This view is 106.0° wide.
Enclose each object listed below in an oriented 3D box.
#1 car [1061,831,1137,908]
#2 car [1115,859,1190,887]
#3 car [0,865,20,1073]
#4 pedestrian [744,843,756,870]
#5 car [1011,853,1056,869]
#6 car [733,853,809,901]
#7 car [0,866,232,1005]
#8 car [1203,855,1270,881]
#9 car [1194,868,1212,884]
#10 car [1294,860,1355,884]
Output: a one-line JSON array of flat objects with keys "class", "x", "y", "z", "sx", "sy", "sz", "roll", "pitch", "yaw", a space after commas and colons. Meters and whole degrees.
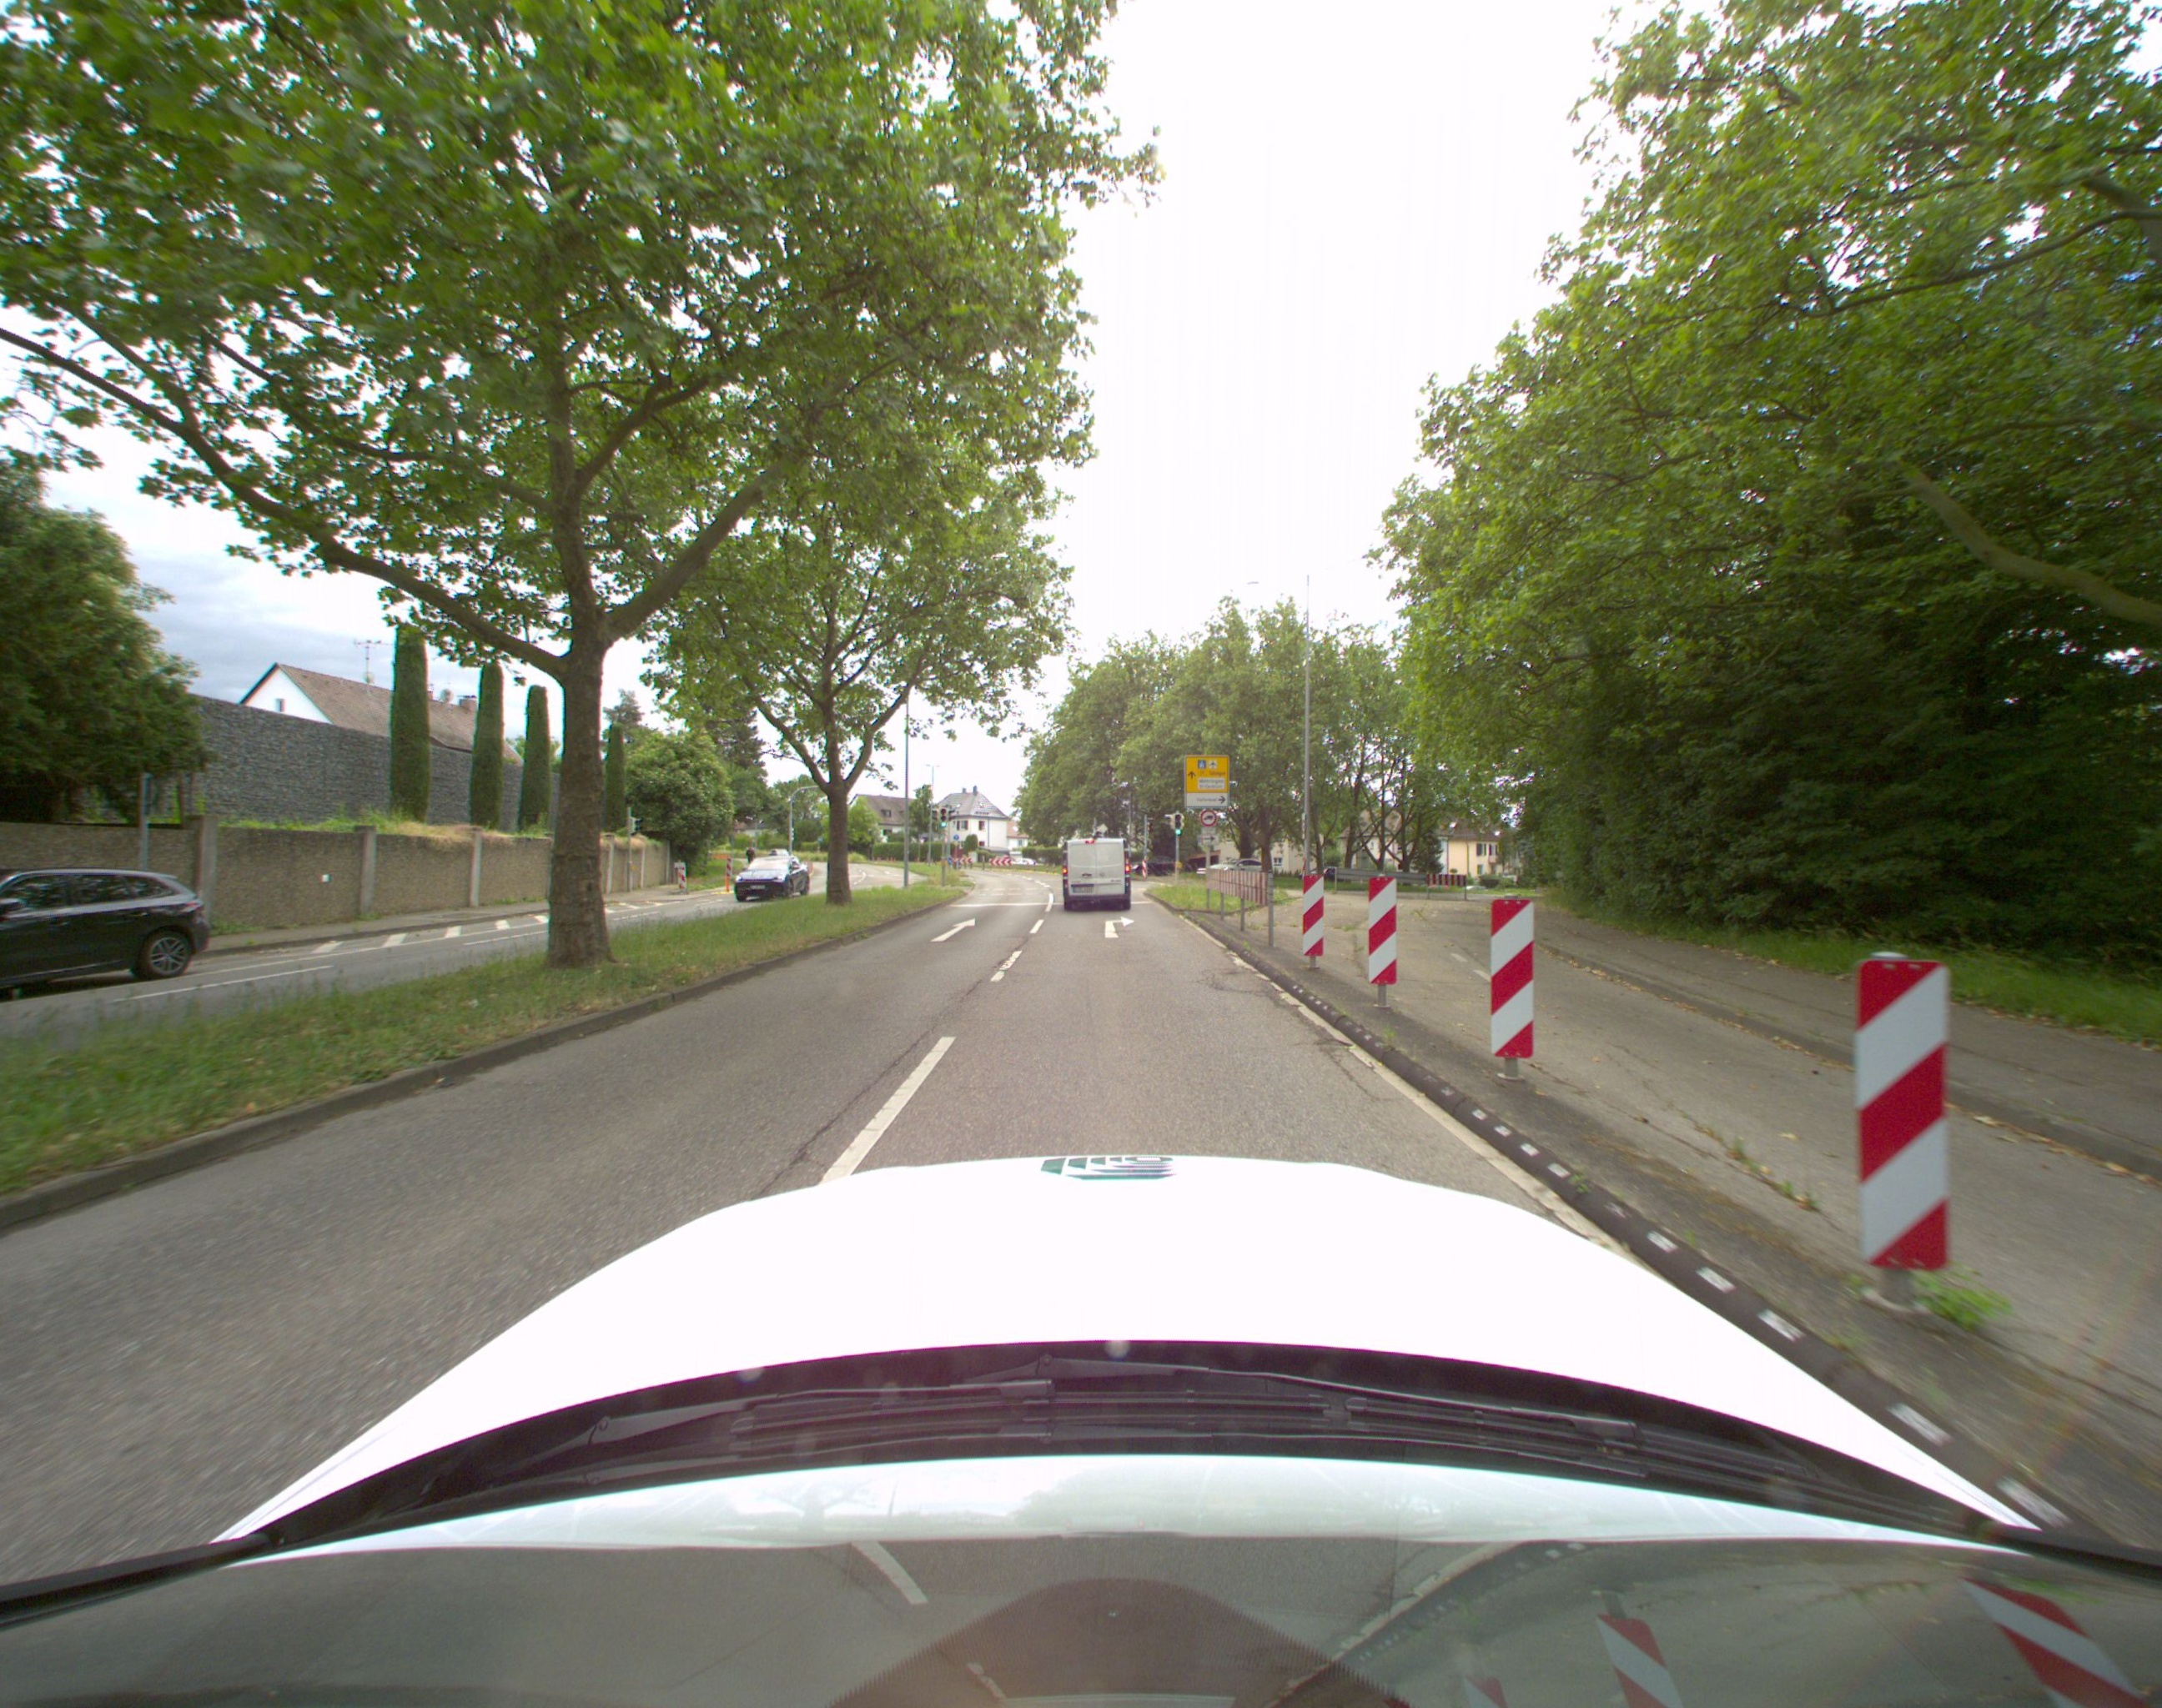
[{"class": "car", "x": 0.443, "y": 0.429, "z": 24.008, "sx": 2.000, "sy": 2.038, "sz": 5.008, "roll": 0, "pitch": 0, "yaw": -1}, {"class": "car", "x": 4.797, "y": 1.226, "z": 54.354, "sx": 4.763, "sy": 1.769, "sz": 1.979, "roll": 1, "pitch": 0, "yaw": -34}, {"class": "car", "x": -9.101, "y": 0.858, "z": 4.246, "sx": 1.994, "sy": 1.587, "sz": 3.990, "roll": -1, "pitch": -1, "yaw": -5}, {"class": "pedestrian", "x": -25.296, "y": 0.164, "z": 62.220, "sx": 0.740, "sy": 2.013, "sz": 0.630, "roll": 2, "pitch": 1, "yaw": -15}, {"class": "car", "x": -5.322, "y": 0.761, "z": 90.870, "sx": 4.683, "sy": 1.769, "sz": 2.013, "roll": 0, "pitch": 0, "yaw": 34}, {"class": "car", "x": -11.427, "y": 0.829, "z": 30.309, "sx": 1.949, "sy": 1.625, "sz": 4.412, "roll": 0, "pitch": -1, "yaw": -12}, {"class": "car", "x": -13.653, "y": 0.966, "z": 10.096, "sx": 1.886, "sy": 1.625, "sz": 4.420, "roll": 0, "pitch": -1, "yaw": -6}, {"class": "car", "x": 11.179, "y": 0.976, "z": 58.507, "sx": 4.763, "sy": 1.769, "sz": 1.979, "roll": 1, "pitch": 0, "yaw": -34}, {"class": "car", "x": 13.779, "y": 2.483, "z": 92.399, "sx": 1.898, "sy": 1.744, "sz": 3.778, "roll": 1, "pitch": 0, "yaw": 7}, {"class": "car", "x": 19.039, "y": 1.397, "z": 63.662, "sx": 4.763, "sy": 1.769, "sz": 1.979, "roll": 1, "pitch": 0, "yaw": -34}]
